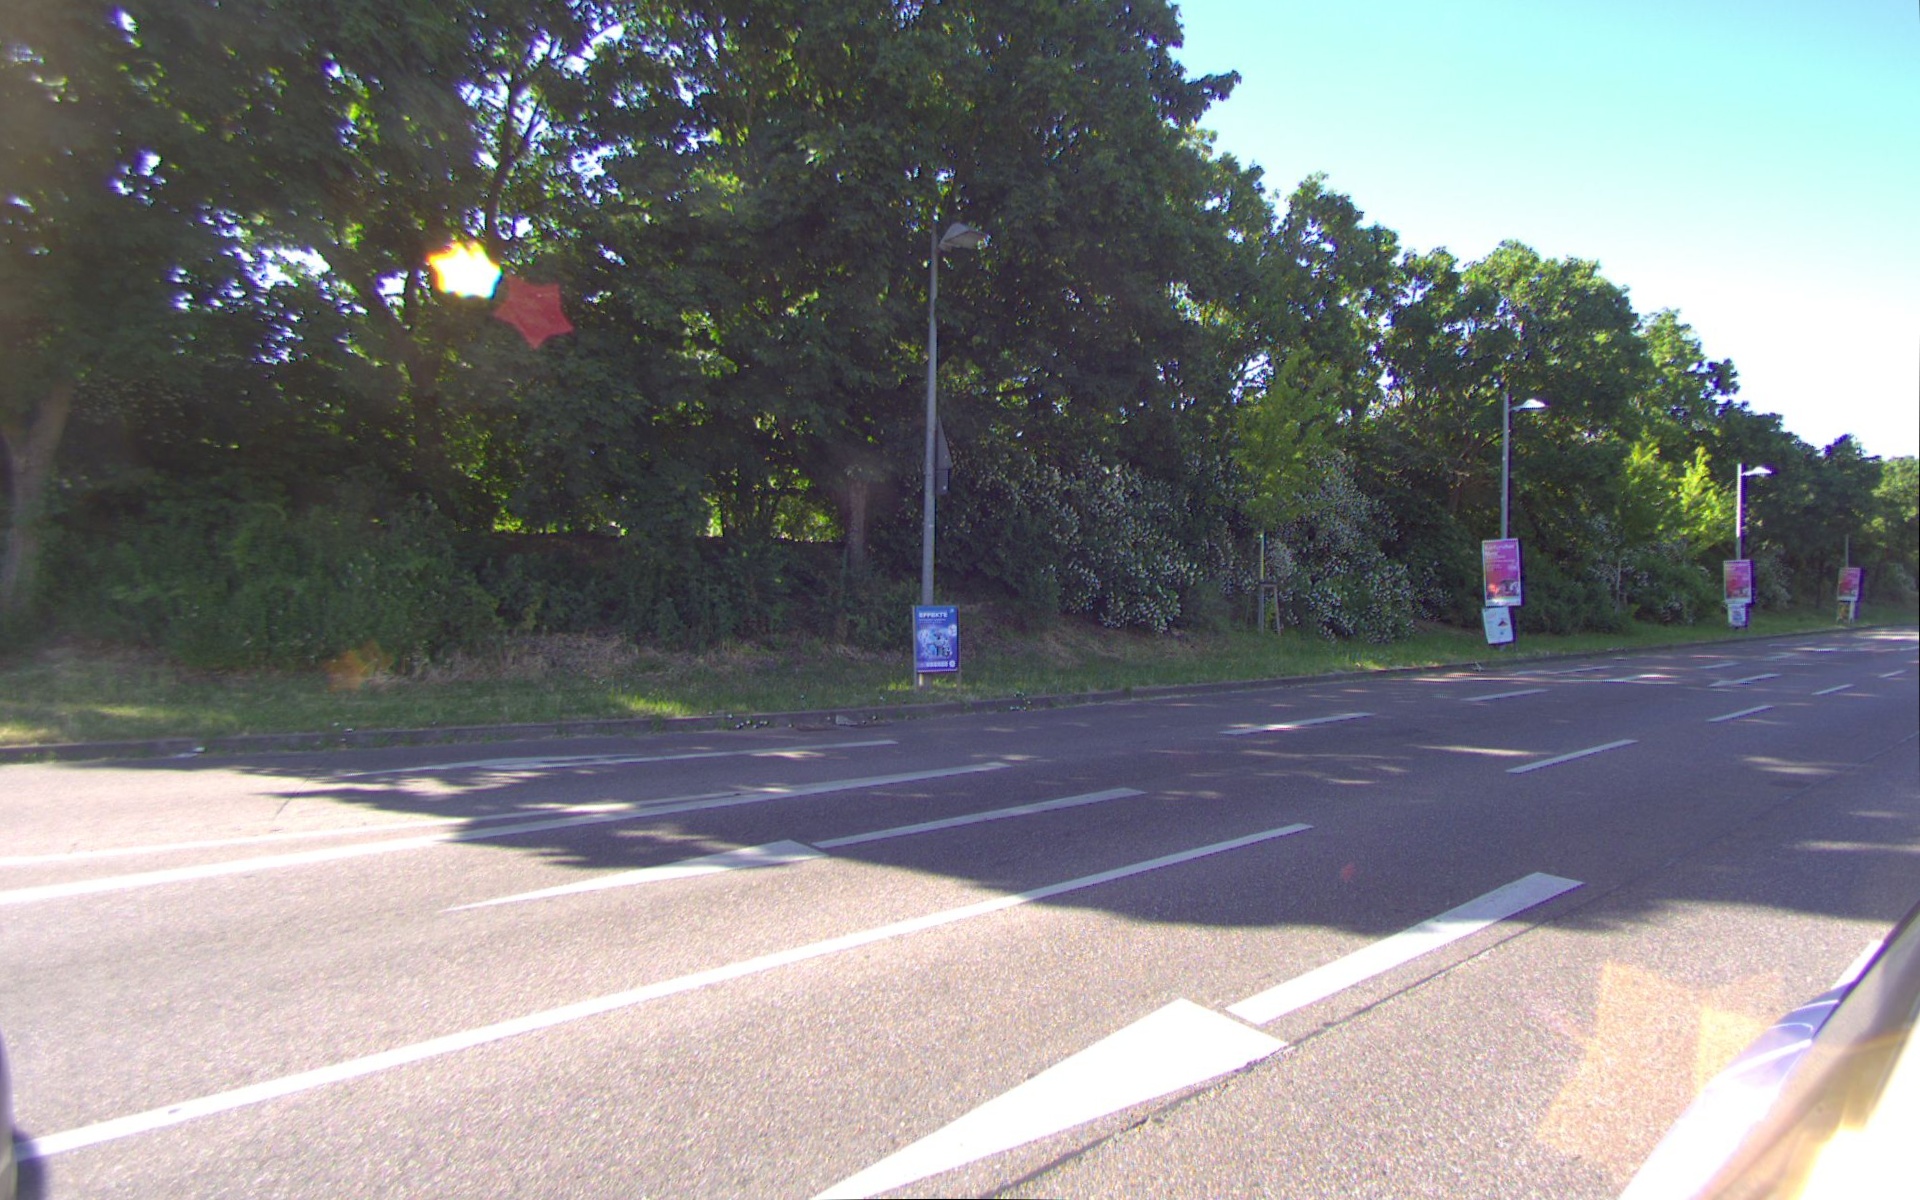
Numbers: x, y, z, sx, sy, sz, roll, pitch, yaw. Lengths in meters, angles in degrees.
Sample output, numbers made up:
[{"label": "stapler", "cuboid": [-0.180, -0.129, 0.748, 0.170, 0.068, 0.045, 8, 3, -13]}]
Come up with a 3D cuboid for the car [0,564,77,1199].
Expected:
[{"label": "car", "cuboid": [-3.141, 0.659, 0.224, 4.364, 1.415, 1.874, 0, 1, -40]}]
